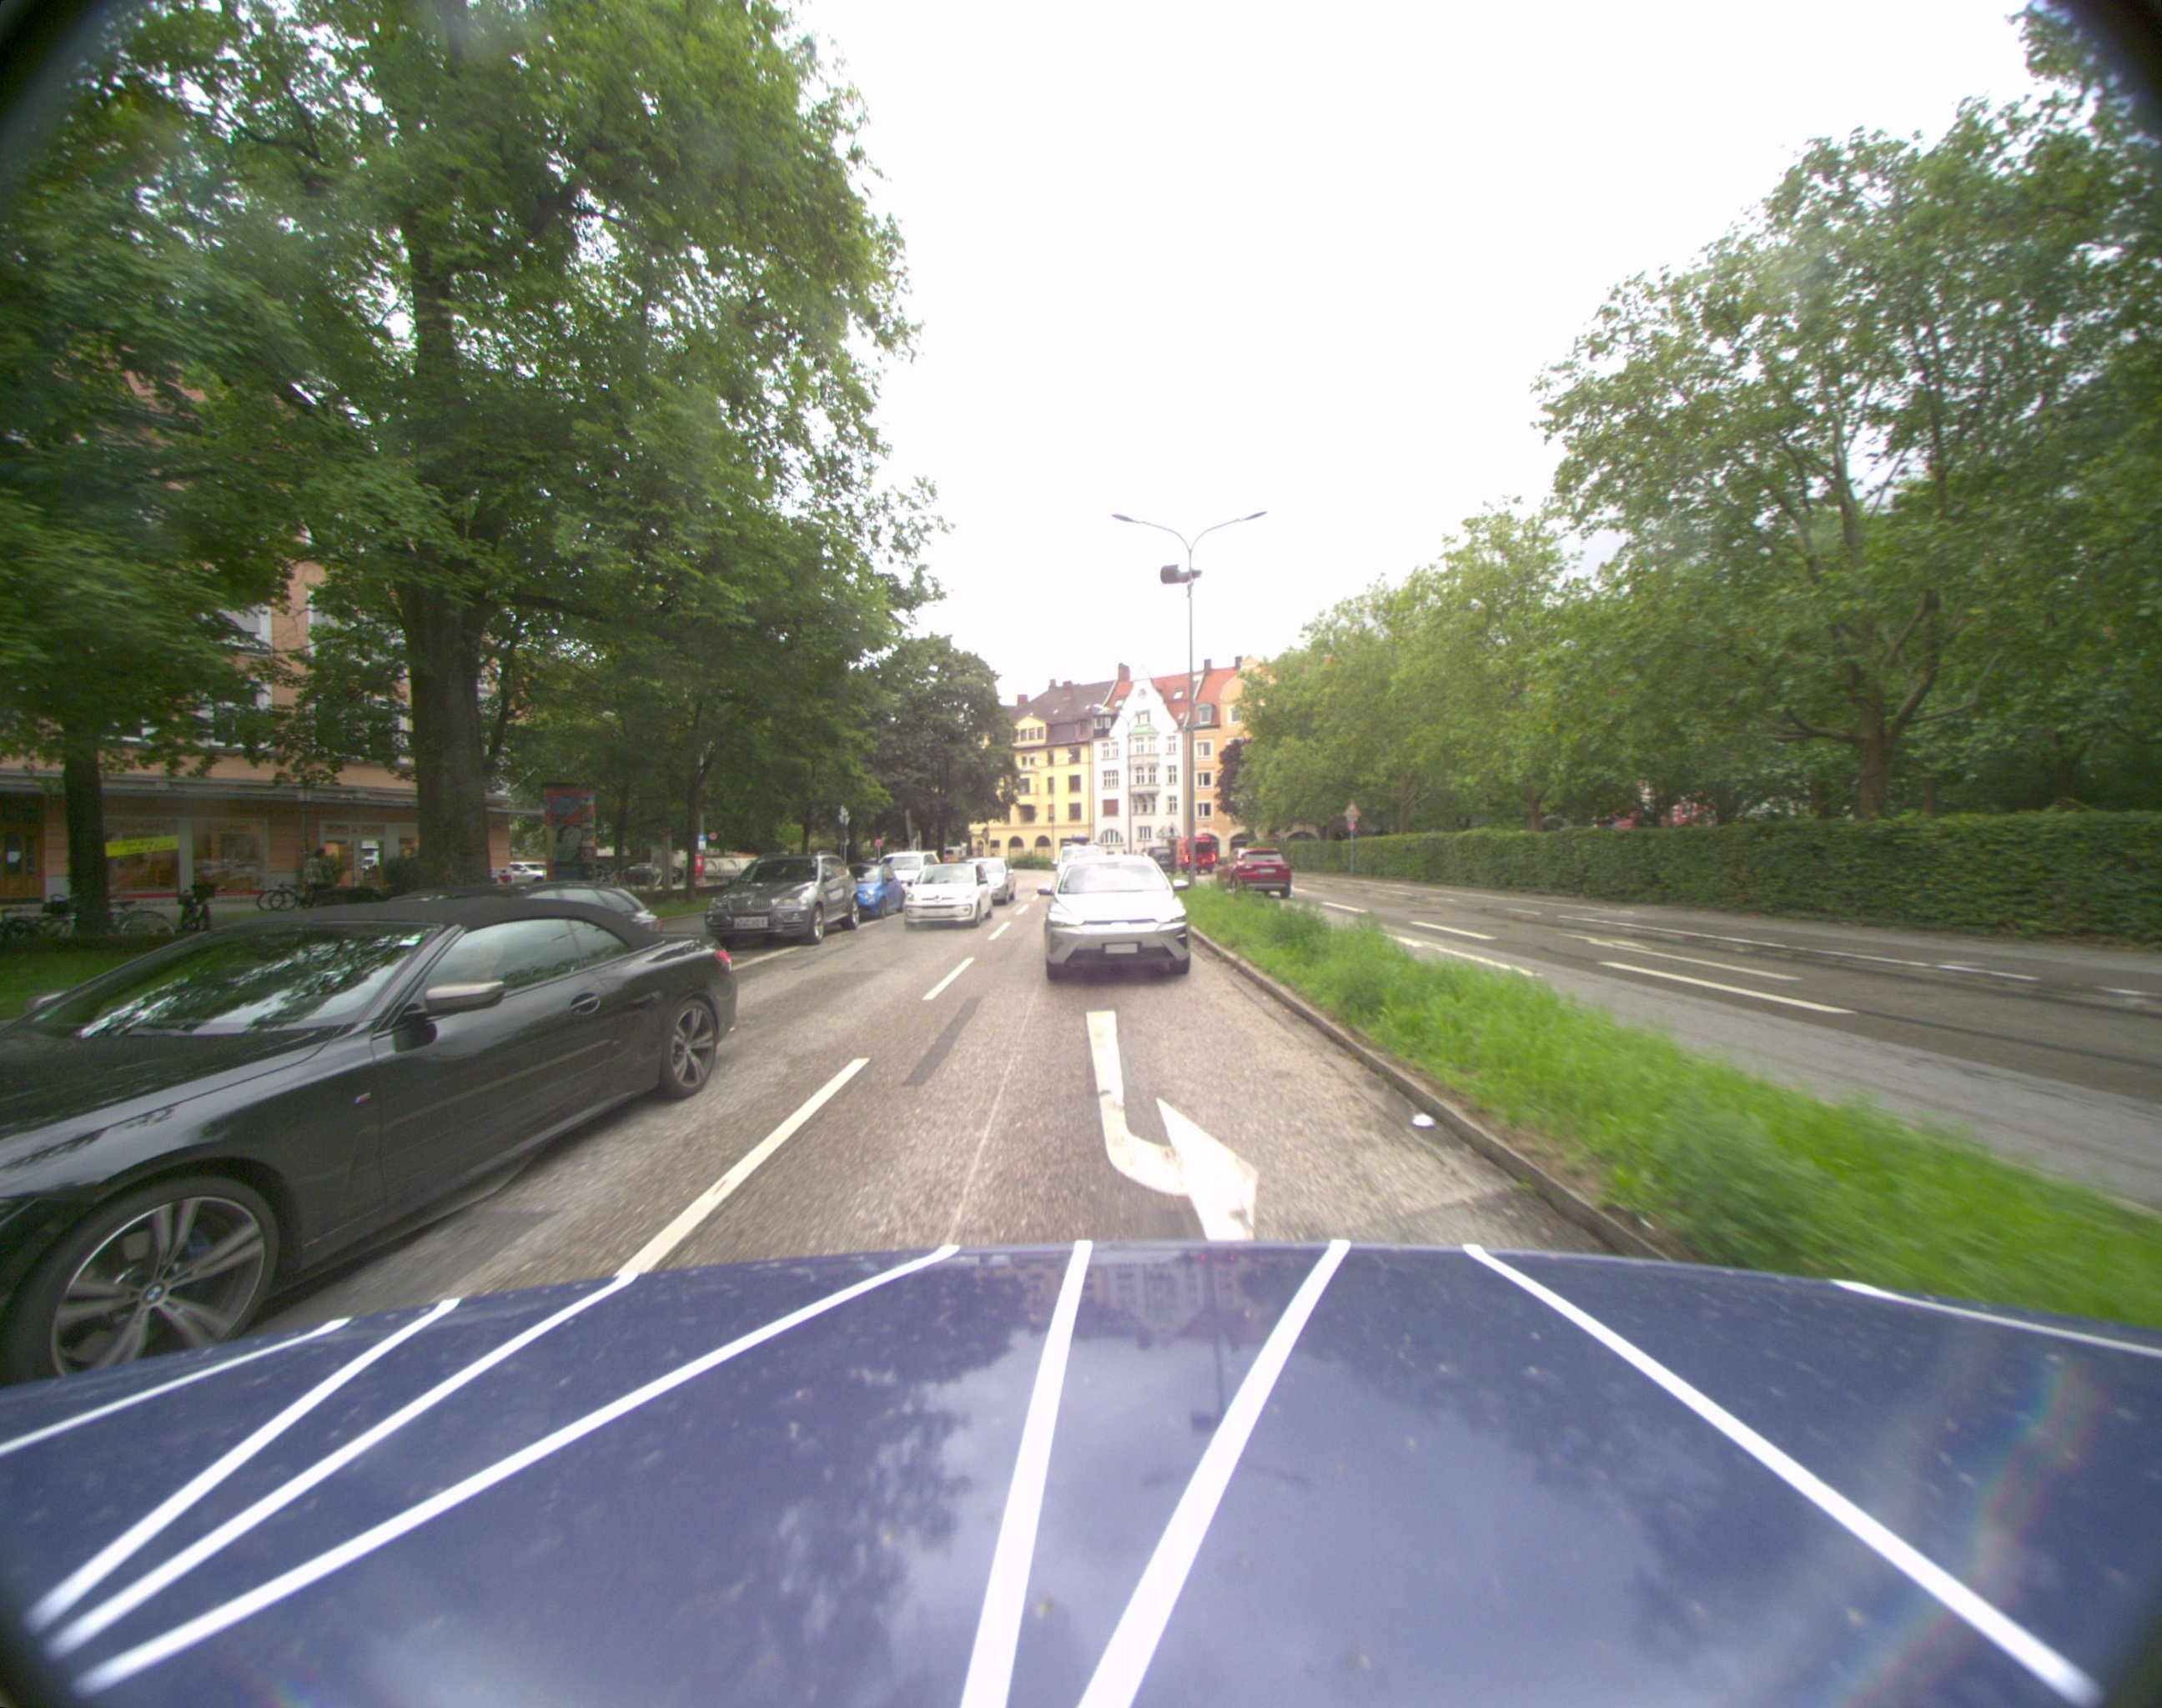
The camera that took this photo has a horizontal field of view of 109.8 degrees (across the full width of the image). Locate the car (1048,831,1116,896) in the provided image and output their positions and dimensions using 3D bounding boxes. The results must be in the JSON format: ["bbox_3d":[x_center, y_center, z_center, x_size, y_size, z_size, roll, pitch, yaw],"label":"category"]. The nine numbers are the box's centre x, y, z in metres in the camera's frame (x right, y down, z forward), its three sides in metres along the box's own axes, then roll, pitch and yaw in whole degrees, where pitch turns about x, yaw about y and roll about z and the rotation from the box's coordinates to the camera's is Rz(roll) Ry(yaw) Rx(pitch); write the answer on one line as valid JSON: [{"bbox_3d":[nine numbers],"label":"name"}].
[{"bbox_3d":[0.152,0.332,29.783,1.911,2.337,4.948,0,0,9],"label":"car"}]

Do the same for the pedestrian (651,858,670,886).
[{"bbox_3d":[-23.748,0.994,42.910,0.602,1.543,0.644,-2,2,6],"label":"pedestrian"}]

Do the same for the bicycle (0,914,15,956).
[{"bbox_3d":[-19.367,1.433,13.281,1.177,0.719,0.319,-2,2,9],"label":"bicycle"}]

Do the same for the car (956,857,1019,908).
[{"bbox_3d":[-3.052,0.892,25.427,1.648,1.521,3.886,0,0,0],"label":"car"}]

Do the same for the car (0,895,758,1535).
[{"bbox_3d":[-3.542,1.038,3.671,1.728,1.381,4.799,-1,0,2],"label":"car"}]

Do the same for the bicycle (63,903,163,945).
[{"bbox_3d":[-19.680,1.405,15.477,0.318,0.719,1.180,-2,1,22],"label":"bicycle"}]

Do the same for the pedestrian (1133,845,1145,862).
[{"bbox_3d":[6.913,-0.075,90.881,1.005,2.002,0.880,-1,2,32],"label":"pedestrian"}]

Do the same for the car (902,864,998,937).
[{"bbox_3d":[-2.965,1.014,17.900,1.648,1.457,3.619,0,0,0],"label":"car"}]

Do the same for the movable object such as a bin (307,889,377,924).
[{"bbox_3d":[-19.767,1.397,20.339,1.179,0.867,0.774,0,1,8],"label":"movable object such as a bin"}]

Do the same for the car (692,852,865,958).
[{"bbox_3d":[-5.902,0.878,15.490,1.937,1.809,4.552,-1,0,-4],"label":"car"}]

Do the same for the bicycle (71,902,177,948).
[{"bbox_3d":[-17.743,1.309,14.121,0.318,0.719,1.179,-2,1,11],"label":"bicycle"}]

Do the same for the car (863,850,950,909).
[{"bbox_3d":[-5.979,0.800,26.695,1.848,1.845,5.023,-1,0,1],"label":"car"}]

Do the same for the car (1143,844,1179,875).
[{"bbox_3d":[5.297,0.336,50.741,1.862,1.979,4.704,-1,0,0],"label":"car"}]

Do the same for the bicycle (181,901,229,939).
[{"bbox_3d":[-17.751,1.331,15.396,1.176,0.719,0.319,-2,2,26],"label":"bicycle"}]

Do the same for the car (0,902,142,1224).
[{"bbox_3d":[-6.272,1.062,2.009,1.835,1.540,4.554,-1,0,1],"label":"car"}]

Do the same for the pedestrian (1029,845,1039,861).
[{"bbox_3d":[-6.124,-0.139,99.163,1.005,2.002,0.880,-1,2,33],"label":"pedestrian"}]

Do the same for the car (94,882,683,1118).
[{"bbox_3d":[-6.108,1.120,7.703,1.772,1.452,4.641,-1,0,-1],"label":"car"}]

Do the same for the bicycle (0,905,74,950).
[{"bbox_3d":[-18.101,1.265,13.114,1.177,0.719,0.319,-2,2,9],"label":"bicycle"}]

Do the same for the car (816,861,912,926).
[{"bbox_3d":[-5.811,1.009,20.752,1.523,1.540,3.662,-1,0,1],"label":"car"}]

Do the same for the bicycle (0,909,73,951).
[{"bbox_3d":[-19.559,1.424,14.202,1.177,0.719,0.319,-2,2,9],"label":"bicycle"}]

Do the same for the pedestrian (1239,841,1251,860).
[{"bbox_3d":[18.386,-0.400,85.184,1.005,2.002,0.880,-1,2,32],"label":"pedestrian"}]

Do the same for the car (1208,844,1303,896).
[{"bbox_3d":[5.858,0.536,26.148,2.109,1.628,4.939,0,-1,0],"label":"car"}]

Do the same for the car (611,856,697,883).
[{"bbox_3d":[-26.752,0.945,47.641,4.436,1.458,1.862,-2,1,10],"label":"car"}]

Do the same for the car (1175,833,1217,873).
[{"bbox_3d":[7.900,-0.031,52.889,2.108,2.573,6.082,0,-1,1],"label":"car"}]

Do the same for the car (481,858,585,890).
[{"bbox_3d":[-29.340,1.053,40.704,4.436,1.458,1.862,-2,1,10],"label":"car"}]

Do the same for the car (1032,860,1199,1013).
[{"bbox_3d":[0.345,0.869,9.800,1.710,1.521,3.886,0,0,0],"label":"car"}]
